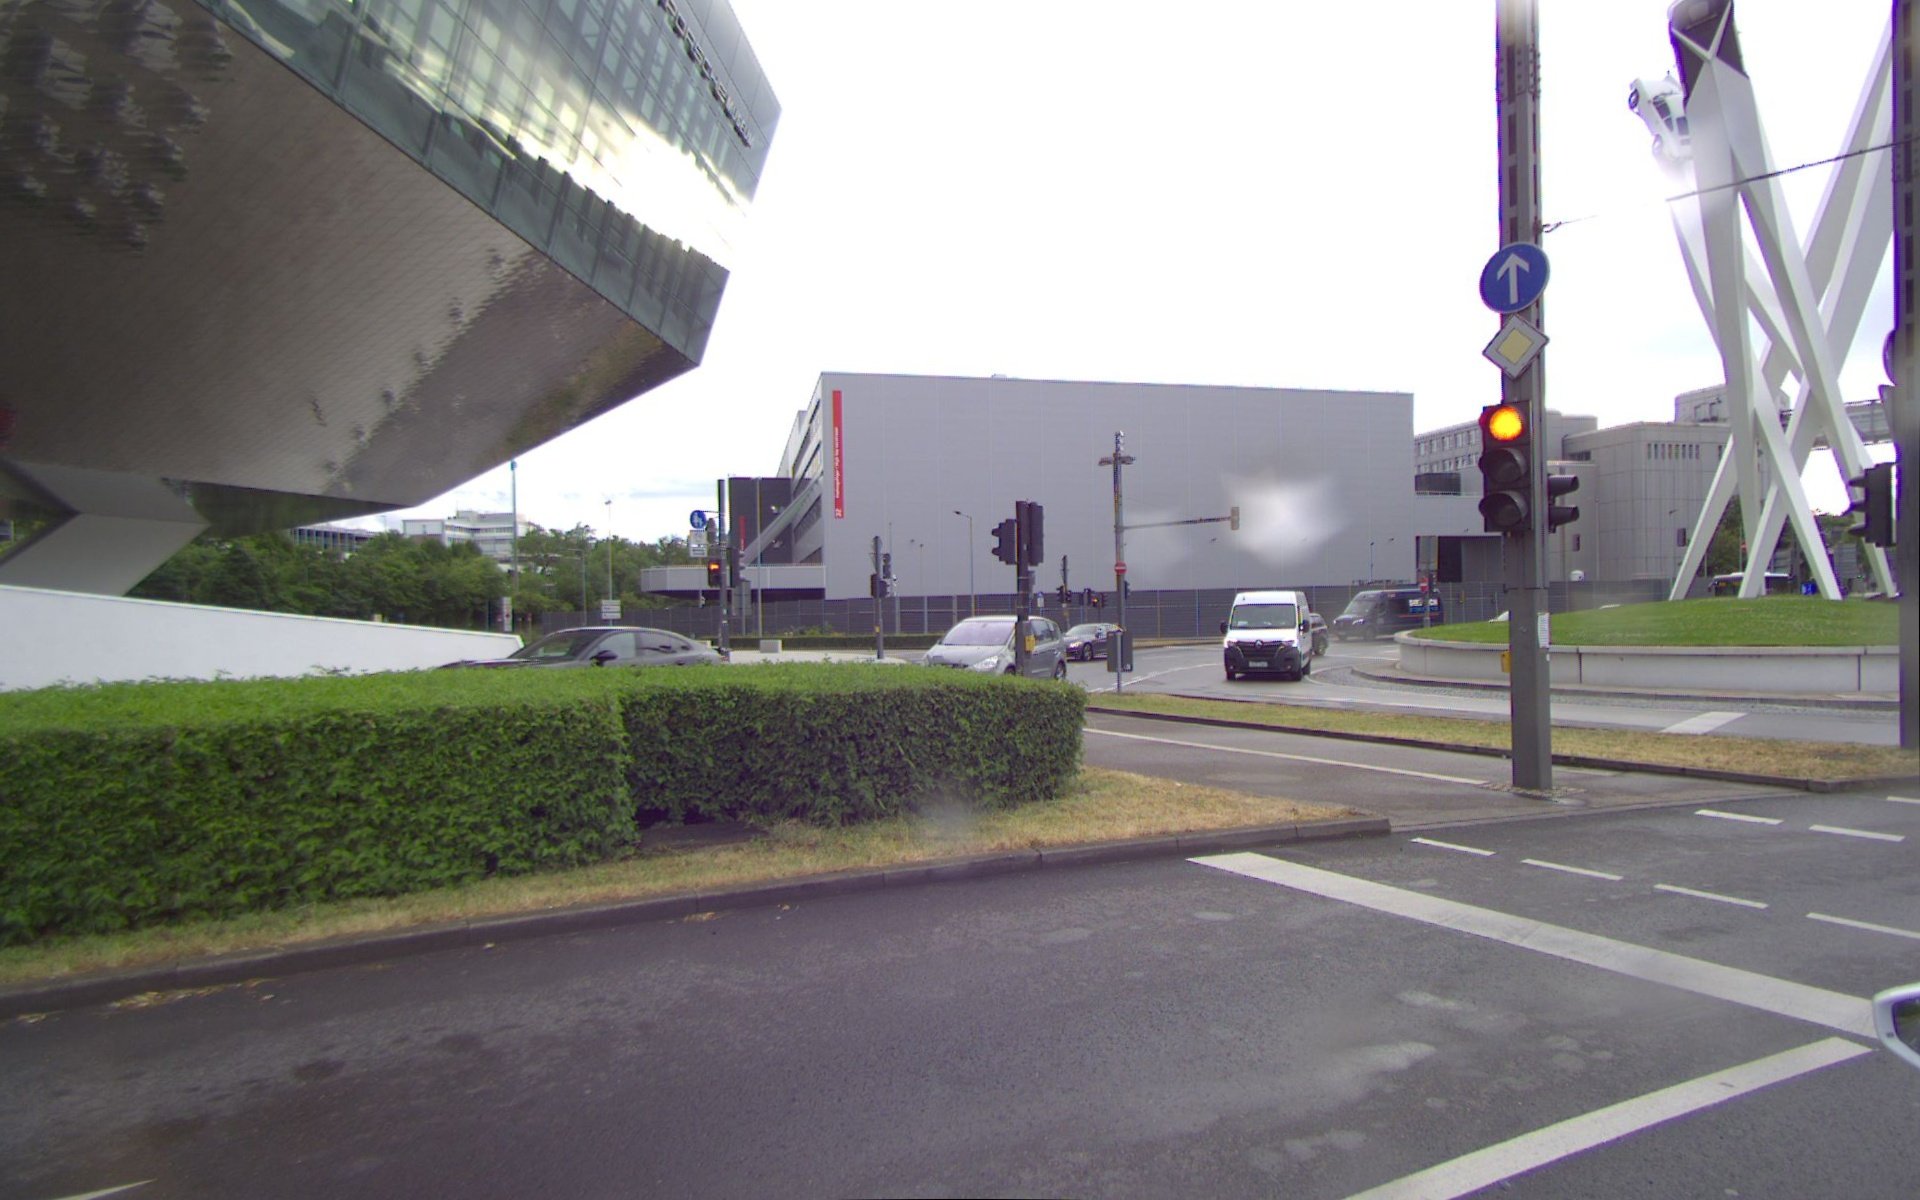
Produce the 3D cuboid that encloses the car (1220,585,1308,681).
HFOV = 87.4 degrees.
[{"bbox_3d":[8.867,0.918,28.968,1.961,2.479,5.425,0,-1,22],"label":"car"}]

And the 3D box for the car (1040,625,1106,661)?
[{"bbox_3d":[4.591,1.684,40.330,1.803,1.356,4.248,0,-1,18],"label":"car"}]

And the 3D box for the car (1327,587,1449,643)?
[{"bbox_3d":[22.962,0.827,53.751,7.035,2.858,1.960,1,-1,-27],"label":"car"}]

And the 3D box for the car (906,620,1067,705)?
[{"bbox_3d":[0.650,1.171,20.248,1.805,1.514,3.997,0,-1,25],"label":"car"}]

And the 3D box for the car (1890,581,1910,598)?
[{"bbox_3d":[117.006,-1.249,125.014,3.708,2.040,1.611,1,0,-45],"label":"car"}]

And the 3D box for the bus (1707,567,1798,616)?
[{"bbox_3d":[56.853,-0.519,71.882,12.565,3.243,2.646,1,-1,-40],"label":"bus"}]

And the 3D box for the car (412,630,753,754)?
[{"bbox_3d":[-5.394,1.226,14.927,1.810,1.491,4.496,0,-1,37],"label":"car"}]

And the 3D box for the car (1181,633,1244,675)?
[{"bbox_3d":[9.379,1.946,37.041,1.803,1.356,4.486,0,-1,20],"label":"car"}]
